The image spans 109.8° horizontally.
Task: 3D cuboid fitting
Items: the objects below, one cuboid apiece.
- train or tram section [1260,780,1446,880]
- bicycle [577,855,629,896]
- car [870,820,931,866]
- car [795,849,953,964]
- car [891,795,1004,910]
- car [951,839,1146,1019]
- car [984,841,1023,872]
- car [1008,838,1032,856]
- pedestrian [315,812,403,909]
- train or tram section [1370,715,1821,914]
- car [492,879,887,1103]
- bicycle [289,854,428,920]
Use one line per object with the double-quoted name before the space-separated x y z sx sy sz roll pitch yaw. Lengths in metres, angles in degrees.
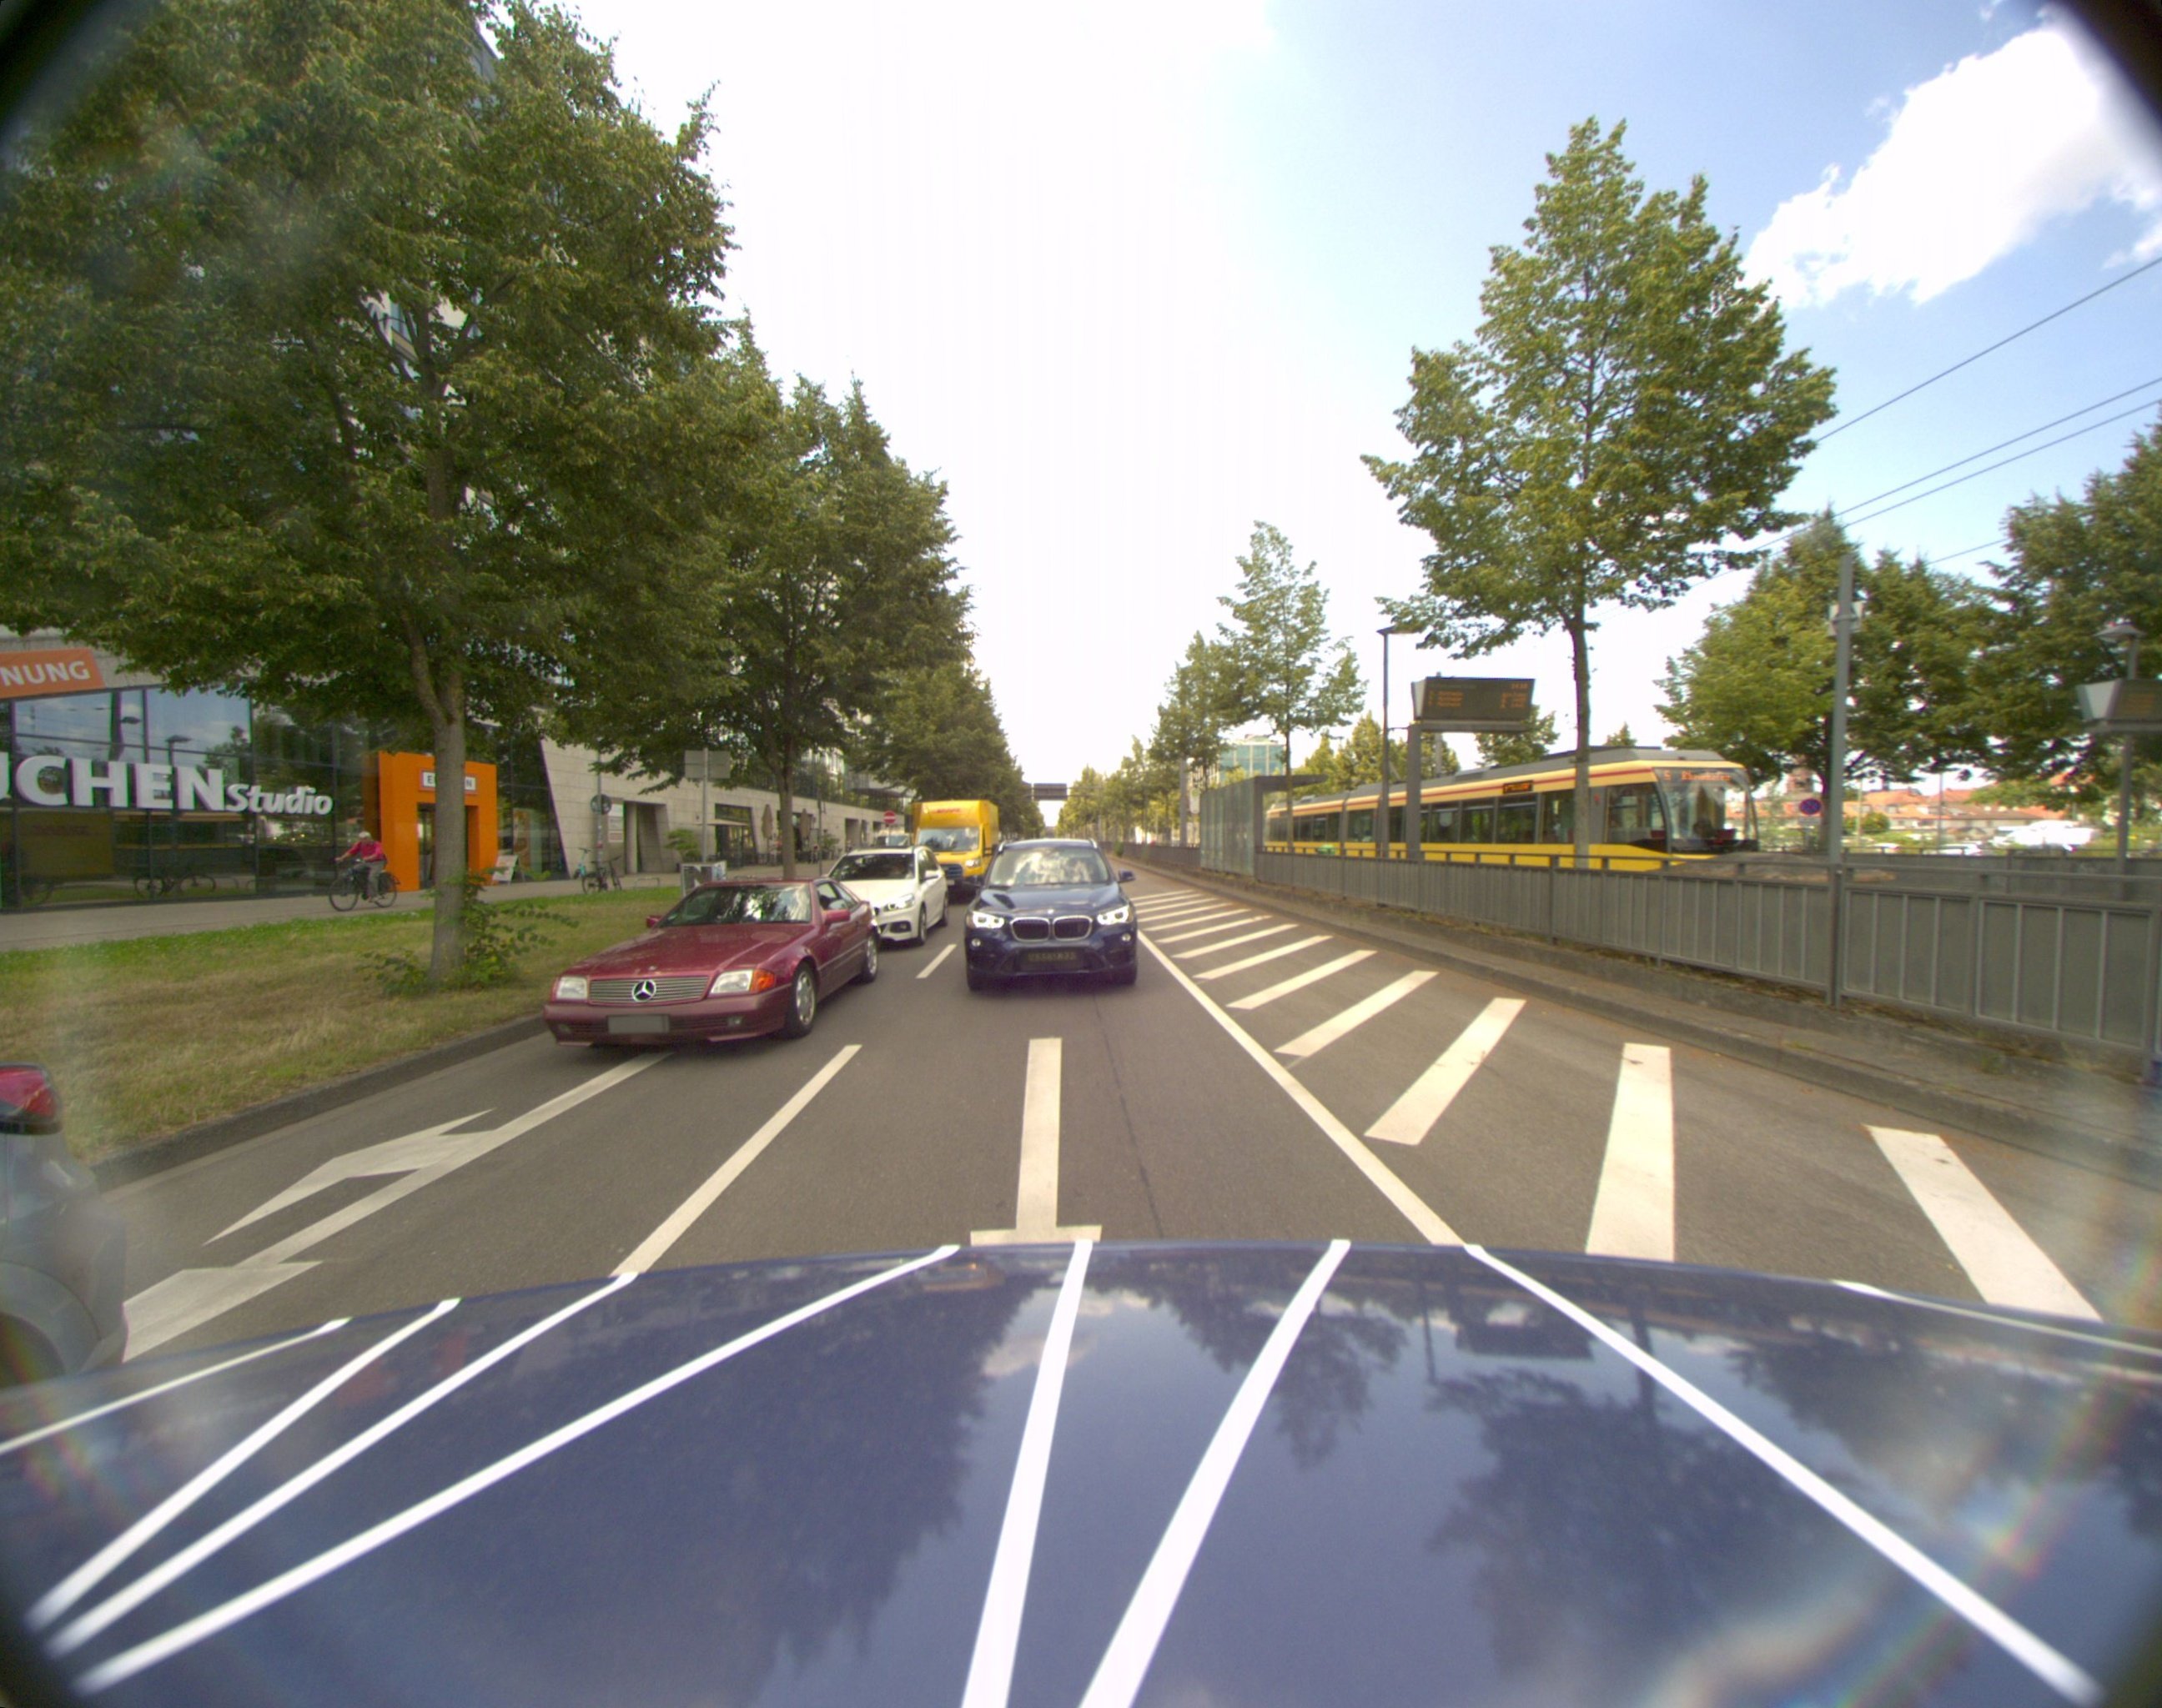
"train or tram section" 11.629 -0.986 34.963 2.694 3.618 14.658 0 1 -2
"bicycle" -13.442 0.577 21.419 0.516 1.082 1.747 0 1 -6
"car" -10.182 -0.648 43.456 2.162 2.380 6.274 -2 1 -3
"car" -3.366 0.752 13.168 1.674 1.589 4.126 -2 1 -2
"car" -3.723 -0.114 22.805 2.284 2.837 7.252 -2 2 -2
"car" -0.369 0.670 9.258 1.774 1.590 4.125 -2 2 -2
"car" -4.796 0.102 47.467 1.999 1.751 4.294 -2 1 -1
"car" -5.805 -0.681 72.415 1.823 1.641 3.999 -2 1 1
"pedestrian" -15.549 0.126 16.405 0.754 2.002 1.231 1 1 -3
"train or tram section" 12.245 -0.842 21.033 2.850 3.718 13.471 0 1 -3
"car" -3.146 0.992 7.163 1.674 1.254 4.091 -2 1 -2
"bicycle" -15.578 0.668 16.499 0.812 1.237 2.409 2 2 -4
